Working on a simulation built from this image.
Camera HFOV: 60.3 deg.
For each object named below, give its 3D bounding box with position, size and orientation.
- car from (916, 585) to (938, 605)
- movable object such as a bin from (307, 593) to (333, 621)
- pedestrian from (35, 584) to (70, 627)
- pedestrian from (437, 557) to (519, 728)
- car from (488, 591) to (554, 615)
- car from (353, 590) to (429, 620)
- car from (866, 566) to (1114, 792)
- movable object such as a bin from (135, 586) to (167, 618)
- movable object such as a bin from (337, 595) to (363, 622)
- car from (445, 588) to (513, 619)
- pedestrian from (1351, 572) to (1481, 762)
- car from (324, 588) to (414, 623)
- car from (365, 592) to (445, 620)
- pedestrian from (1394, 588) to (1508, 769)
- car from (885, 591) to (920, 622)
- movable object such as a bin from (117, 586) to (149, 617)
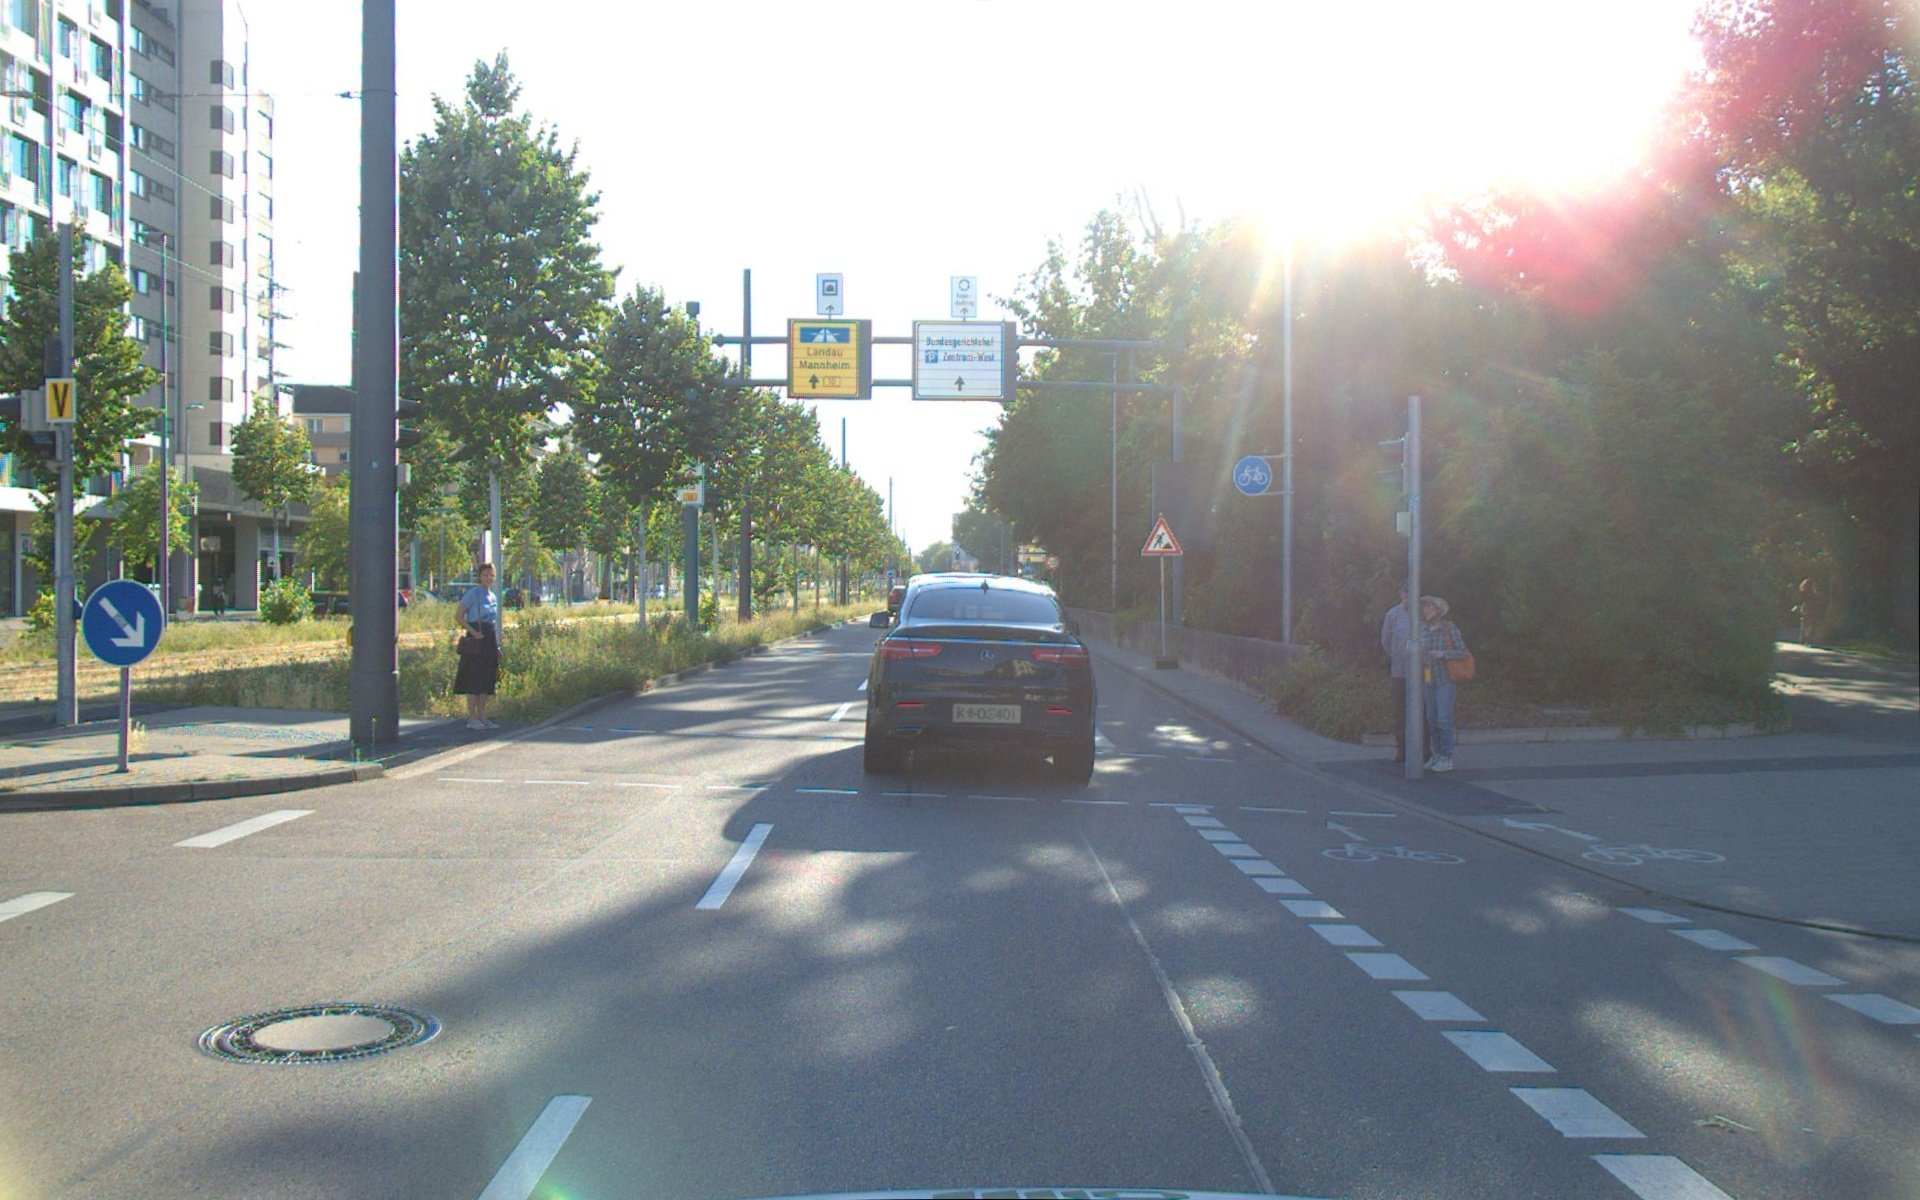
[{"bbox_3d":[-2.839,-0.452,141.759,1.847,1.608,3.999,1,1,-1],"label":"car"},{"bbox_3d":[-31.778,0.328,82.132,0.839,1.381,0.940,0,0,14],"label":"movable object such as a bin"},{"bbox_3d":[-36.293,0.223,66.152,0.826,1.682,0.970,0,0,1],"label":"pedestrian"},{"bbox_3d":[-4.967,0.427,17.081,0.586,1.729,0.714,0,0,5],"label":"pedestrian"},{"bbox_3d":[-30.522,0.228,115.106,3.966,1.590,1.969,1,0,-43],"label":"car"},{"bbox_3d":[-31.377,0.288,91.268,3.593,1.550,1.596,2,0,-42],"label":"car"},{"bbox_3d":[0.145,0.618,15.207,1.954,1.765,3.998,1,0,-3],"label":"car"},{"bbox_3d":[-37.914,0.093,77.524,0.784,1.465,1.403,0,0,0],"label":"movable object such as a bin"},{"bbox_3d":[-30.422,0.423,82.469,0.839,1.303,0.940,0,0,14],"label":"movable object such as a bin"},{"bbox_3d":[-30.573,0.211,105.072,3.724,1.861,1.798,1,0,-41],"label":"car"},{"bbox_3d":[4.594,0.652,16.692,0.849,1.833,0.896,-2,0,-35],"label":"pedestrian"},{"bbox_3d":[-31.279,0.289,87.591,4.060,1.629,1.724,3,0,-42],"label":"car"},{"bbox_3d":[-31.578,0.336,94.119,1.755,1.478,3.977,2,0,41],"label":"car"},{"bbox_3d":[4.692,0.727,15.840,0.752,1.665,0.768,-2,0,-10],"label":"pedestrian"},{"bbox_3d":[-3.172,0.351,92.501,1.847,1.608,3.999,1,1,-1],"label":"car"},{"bbox_3d":[-38.769,0.068,77.516,0.784,1.465,1.403,0,0,0],"label":"movable object such as a bin"}]
